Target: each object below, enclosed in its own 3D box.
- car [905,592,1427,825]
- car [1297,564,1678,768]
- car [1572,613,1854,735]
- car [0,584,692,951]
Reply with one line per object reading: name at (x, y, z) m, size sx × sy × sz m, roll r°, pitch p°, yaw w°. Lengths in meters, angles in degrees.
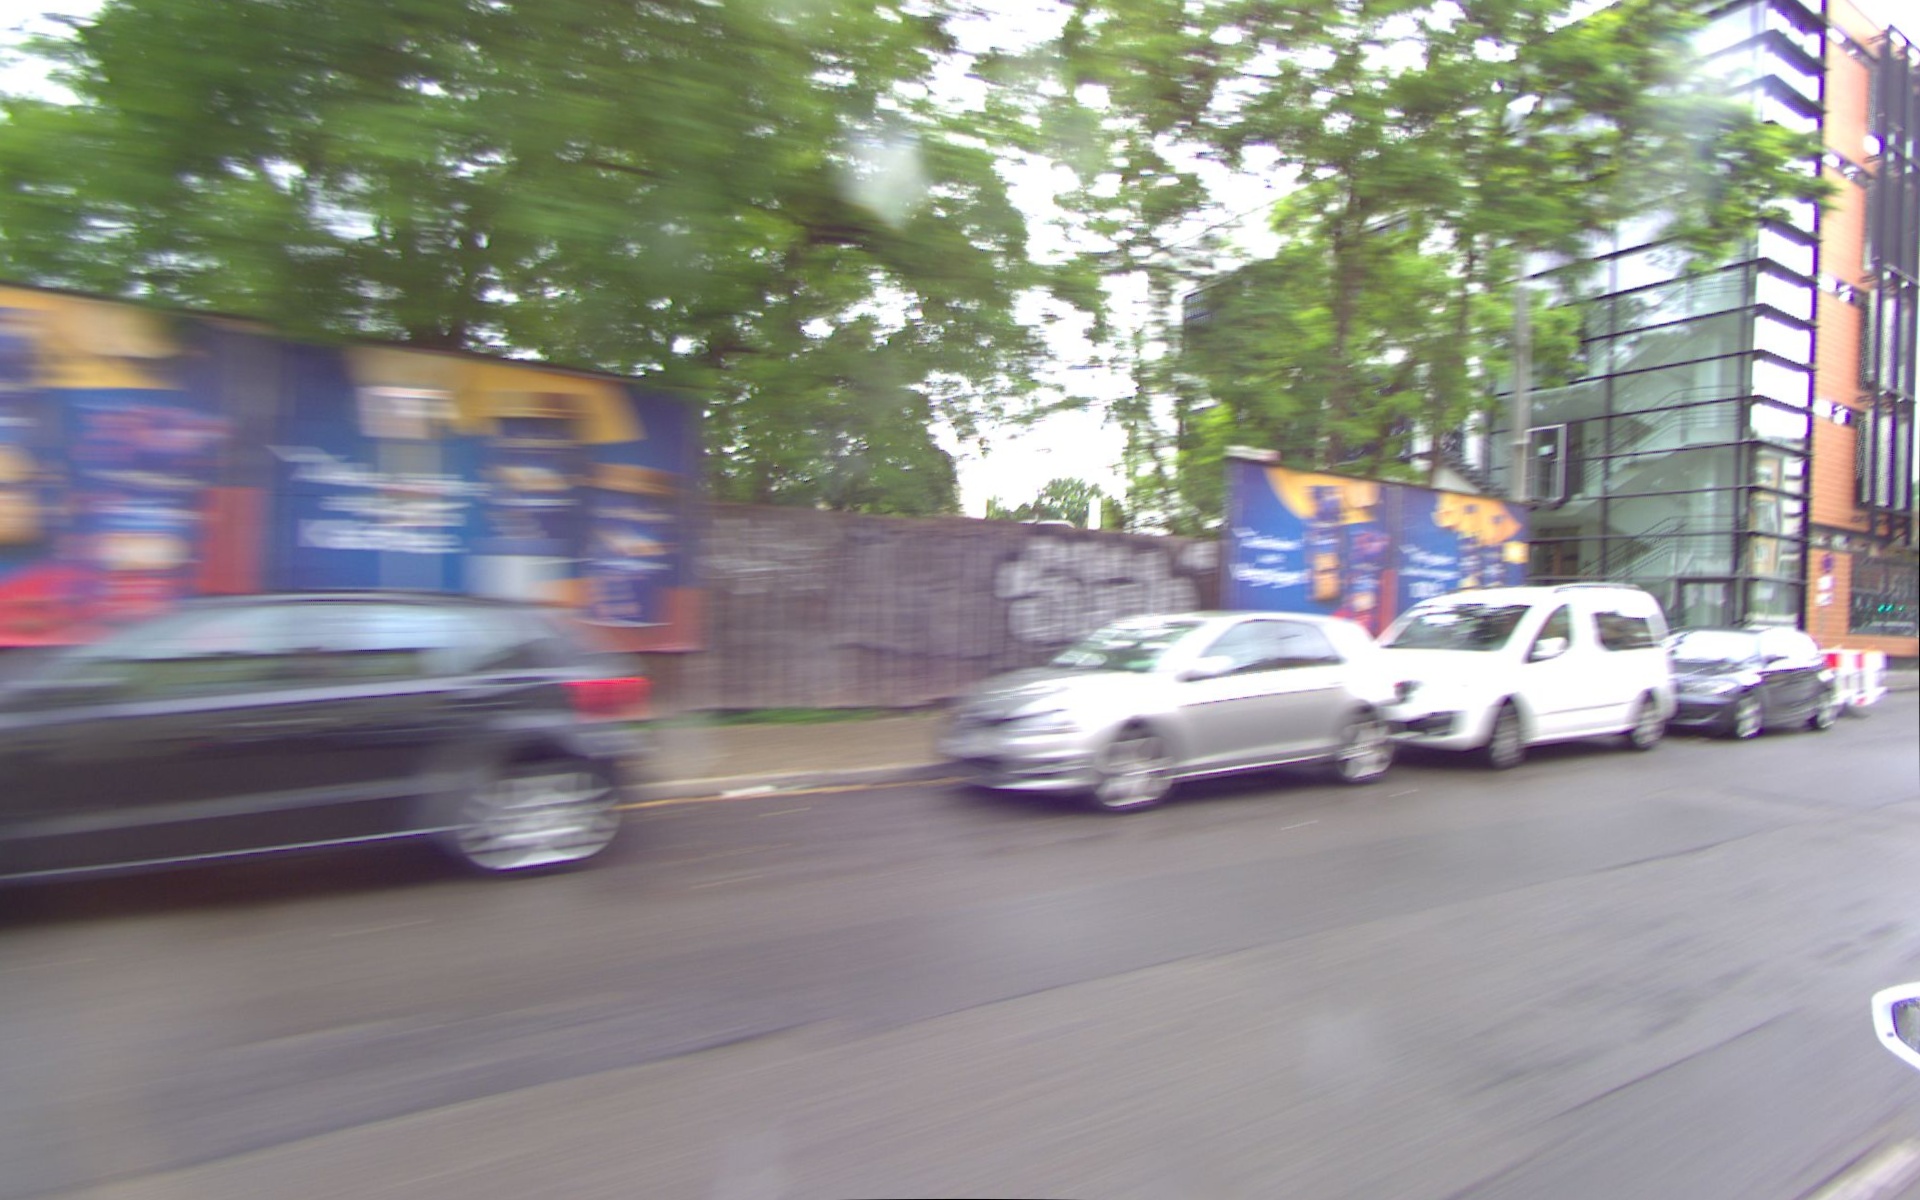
car at (1.800, 0.737, 8.252) m, size 4.230 × 1.482 × 1.673 m, roll 1°, pitch -1°, yaw -32°
car at (5.788, 0.638, 10.873) m, size 4.296 × 1.824 × 1.714 m, roll 1°, pitch -1°, yaw -32°
car at (10.239, 0.913, 13.566) m, size 4.298 × 1.394 × 1.713 m, roll 2°, pitch -1°, yaw -34°
car at (-3.499, 0.661, 4.992) m, size 3.867 × 1.417 × 1.673 m, roll 1°, pitch -1°, yaw -32°
